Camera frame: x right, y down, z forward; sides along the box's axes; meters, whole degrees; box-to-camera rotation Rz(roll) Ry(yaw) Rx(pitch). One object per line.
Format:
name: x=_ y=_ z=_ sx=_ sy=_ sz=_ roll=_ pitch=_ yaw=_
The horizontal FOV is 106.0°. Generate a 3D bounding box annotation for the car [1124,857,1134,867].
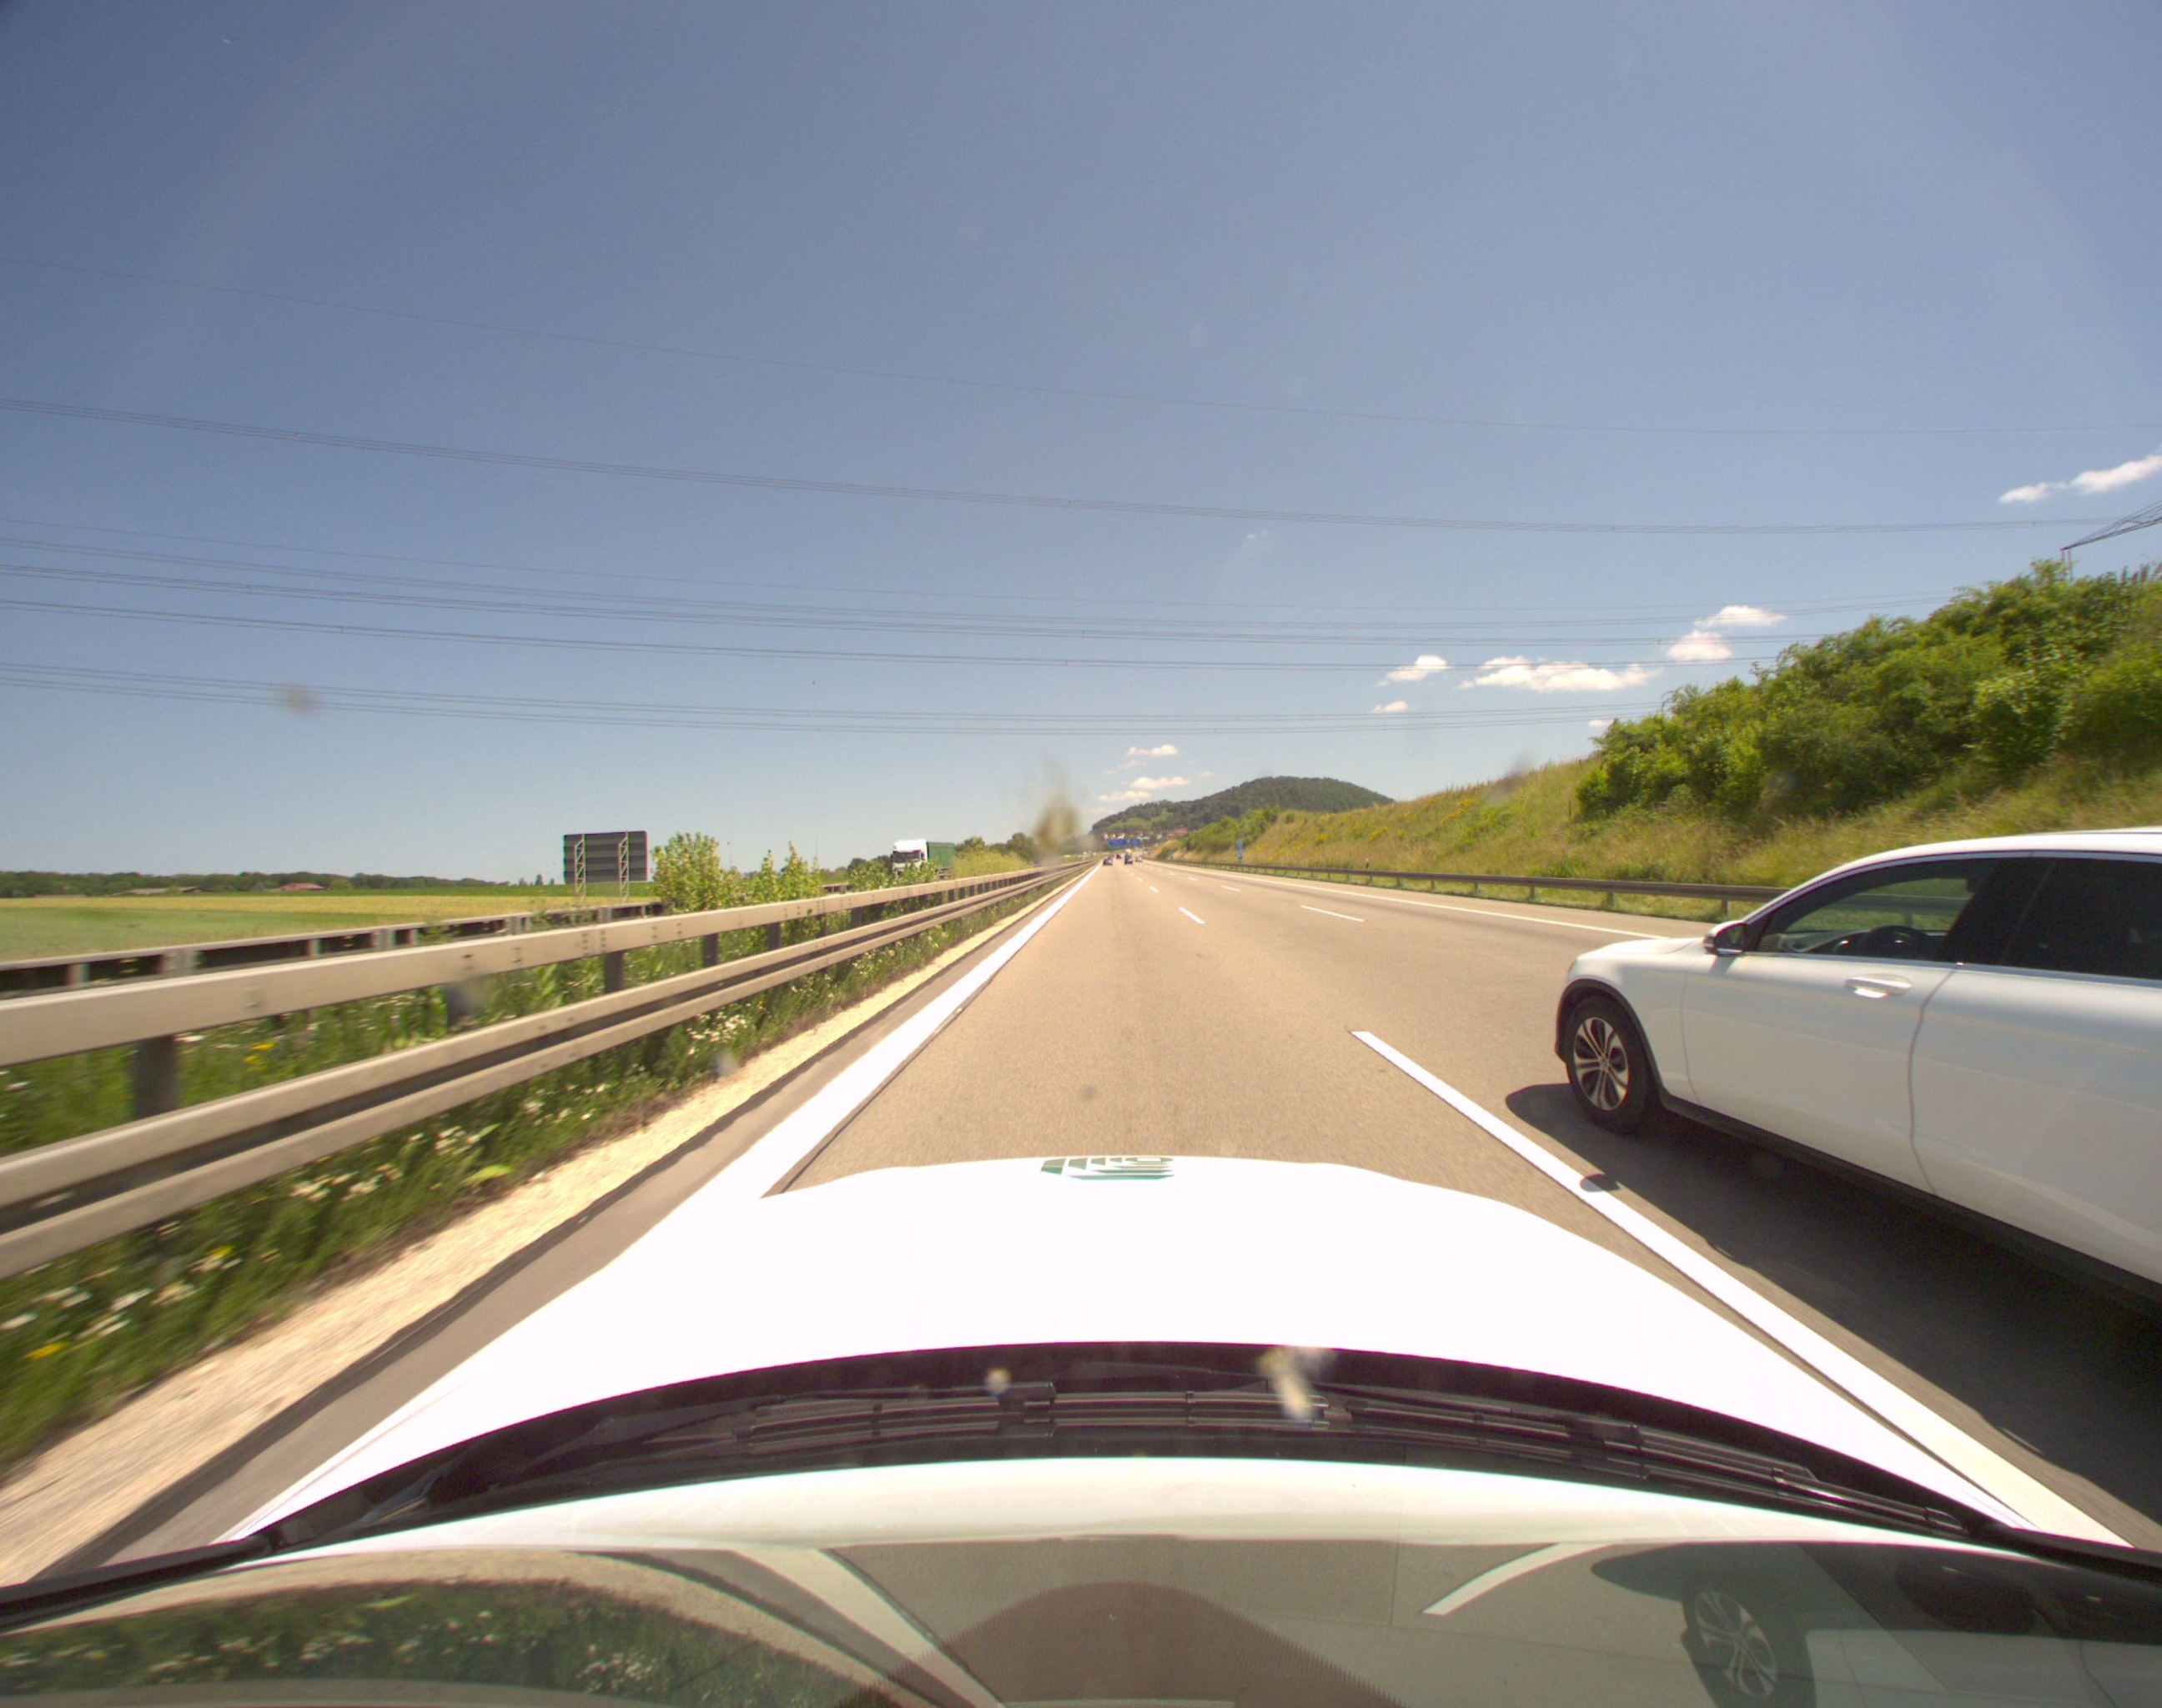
car: x=9.614 y=1.562 z=164.516 sx=1.985 sy=2.014 sz=4.002 roll=0 pitch=-1 yaw=3

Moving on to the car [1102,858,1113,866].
car: x=4.844 y=1.461 z=147.896 sx=1.985 sy=1.389 sz=4.002 roll=0 pitch=-1 yaw=3

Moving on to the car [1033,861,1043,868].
car: x=-9.540 y=2.308 z=180.934 sx=1.940 sy=1.543 sz=4.288 roll=0 pitch=-1 yaw=2

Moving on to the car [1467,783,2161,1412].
car: x=3.702 y=0.621 z=3.310 sx=1.907 sy=1.581 sz=5.232 roll=0 pitch=-1 yaw=2

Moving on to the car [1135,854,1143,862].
car: x=15.384 y=1.062 z=215.456 sx=1.986 sy=1.818 sz=4.002 roll=-2 pitch=0 yaw=2

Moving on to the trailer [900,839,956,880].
trailer: x=-14.539 y=0.571 z=78.612 sx=2.743 sy=3.594 sz=12.538 roll=0 pitch=-1 yaw=1

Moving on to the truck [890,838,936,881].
truck: x=-14.697 y=0.509 z=71.779 sx=2.714 sy=3.559 sz=5.901 roll=0 pitch=-1 yaw=1
